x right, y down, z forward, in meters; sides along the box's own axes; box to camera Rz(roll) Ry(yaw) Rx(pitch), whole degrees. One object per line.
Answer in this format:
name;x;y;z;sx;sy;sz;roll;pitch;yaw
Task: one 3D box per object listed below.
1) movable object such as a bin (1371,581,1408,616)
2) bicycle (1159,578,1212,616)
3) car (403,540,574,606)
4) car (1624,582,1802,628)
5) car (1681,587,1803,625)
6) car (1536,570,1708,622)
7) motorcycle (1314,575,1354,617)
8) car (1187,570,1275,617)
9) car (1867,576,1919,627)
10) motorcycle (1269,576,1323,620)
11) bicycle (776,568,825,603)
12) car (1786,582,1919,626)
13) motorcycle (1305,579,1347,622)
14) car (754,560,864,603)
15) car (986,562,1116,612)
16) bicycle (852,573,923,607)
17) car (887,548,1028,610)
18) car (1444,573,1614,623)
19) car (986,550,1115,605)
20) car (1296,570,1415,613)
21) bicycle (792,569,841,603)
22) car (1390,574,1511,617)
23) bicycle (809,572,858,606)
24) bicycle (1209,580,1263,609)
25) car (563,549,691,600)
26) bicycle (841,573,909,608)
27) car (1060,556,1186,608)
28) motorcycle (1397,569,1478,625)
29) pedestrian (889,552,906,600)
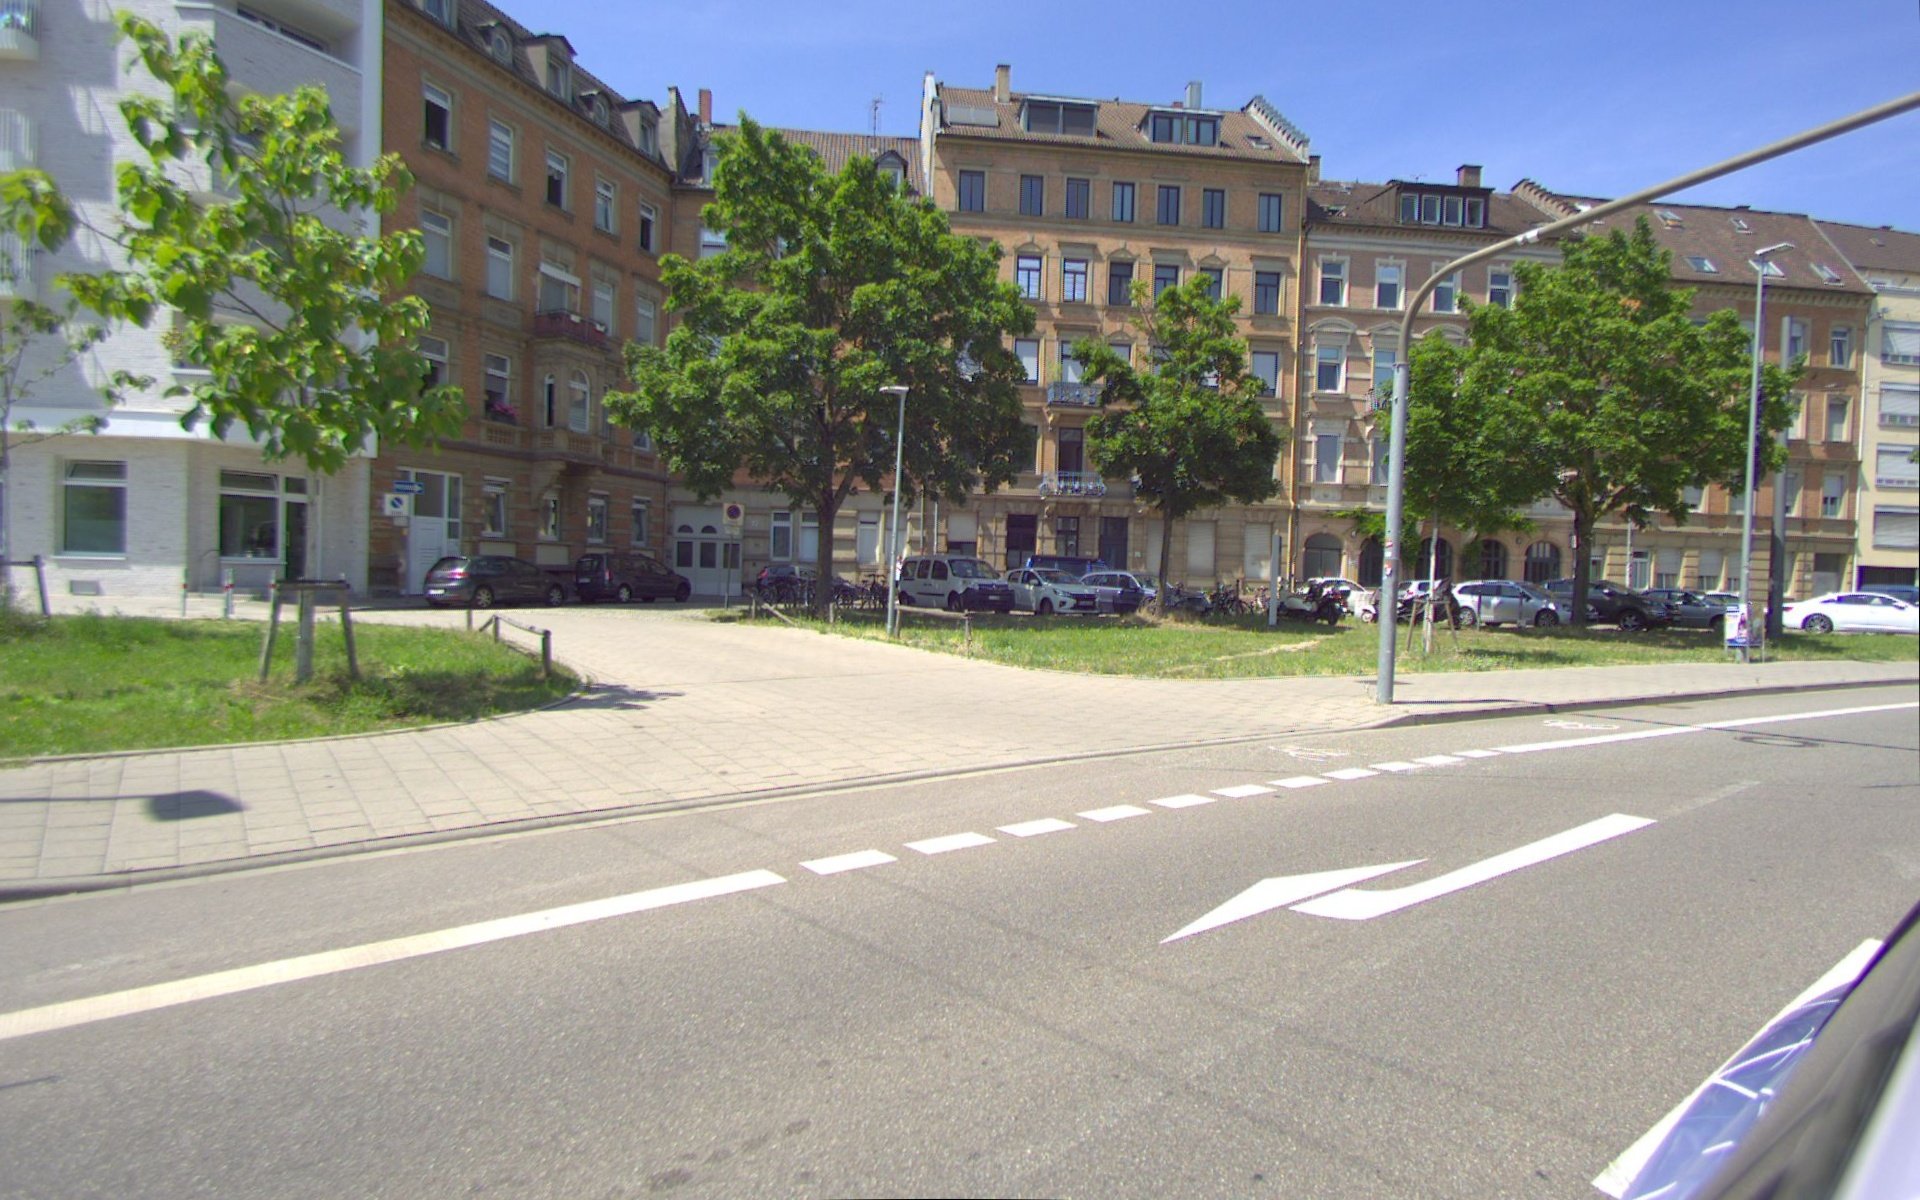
movable object such as a bin;12.238;-0.044;28.877;0.689;0.949;0.987;1;0;6
bicycle;5.969;-0.080;26.796;1.352;0.959;0.474;1;0;16
car;-12.700;-0.691;27.532;1.677;1.645;4.096;1;0;24
car;23.373;0.131;31.577;1.932;1.330;4.006;1;0;-27
car;31.747;0.222;41.146;3.641;1.438;1.787;1;0;-6
car;20.444;-0.129;31.421;1.762;1.488;4.095;1;0;-32
motorcycle;11.783;-0.128;31.914;0.799;1.251;2.079;1;1;10
car;8.779;-0.221;33.114;1.921;1.393;3.997;1;0;3
car;32.860;0.083;33.361;1.933;1.683;4.004;1;0;-31
motorcycle;9.193;-0.061;27.771;0.517;1.134;1.831;1;0;-12
bicycle;-4.554;-0.426;28.760;0.498;0.947;2.051;1;0;-35
car;29.910;0.131;32.736;4.773;1.330;2.115;2;0;44
motorcycle;10.081;0.009;27.920;0.468;1.134;1.527;1;0;-5
car;-5.553;-0.671;37.564;3.919;1.438;1.779;1;0;-6
car;2.600;-0.393;29.708;1.724;1.349;4.003;1;0;-32
bicycle;-2.085;-0.297;28.798;2.418;0.947;0.500;2;0;42
car;-0.184;-0.591;29.336;1.800;1.621;4.878;1;0;-32
car;17.372;-0.088;31.094;1.551;1.393;4.352;1;0;-31
car;3.394;-0.835;38.511;4.561;1.928;1.928;1;0;-5
car;15.473;-0.319;39.728;3.921;1.549;1.843;1;0;-3
bicycle;-4.172;-0.398;29.265;0.498;0.947;2.051;1;0;-35
car;19.523;-0.179;40.363;3.919;1.549;1.845;1;0;-7
bicycle;-3.705;-0.318;29.526;0.498;0.947;2.051;1;0;-35
bicycle;8.081;-0.159;29.601;1.443;0.815;0.494;1;0;30
car;-10.894;-0.796;33.372;1.758;1.549;4.048;1;0;24
bicycle;-2.544;-0.301;30.107;2.418;0.947;0.500;3;2;42
car;4.874;-0.537;30.698;1.576;1.450;3.870;1;0;-34
motorcycle;12.895;-0.092;27.378;1.820;1.430;0.678;2;2;-4
pedestrian;-2.405;-0.913;38.862;0.590;1.842;0.454;1;0;-5
